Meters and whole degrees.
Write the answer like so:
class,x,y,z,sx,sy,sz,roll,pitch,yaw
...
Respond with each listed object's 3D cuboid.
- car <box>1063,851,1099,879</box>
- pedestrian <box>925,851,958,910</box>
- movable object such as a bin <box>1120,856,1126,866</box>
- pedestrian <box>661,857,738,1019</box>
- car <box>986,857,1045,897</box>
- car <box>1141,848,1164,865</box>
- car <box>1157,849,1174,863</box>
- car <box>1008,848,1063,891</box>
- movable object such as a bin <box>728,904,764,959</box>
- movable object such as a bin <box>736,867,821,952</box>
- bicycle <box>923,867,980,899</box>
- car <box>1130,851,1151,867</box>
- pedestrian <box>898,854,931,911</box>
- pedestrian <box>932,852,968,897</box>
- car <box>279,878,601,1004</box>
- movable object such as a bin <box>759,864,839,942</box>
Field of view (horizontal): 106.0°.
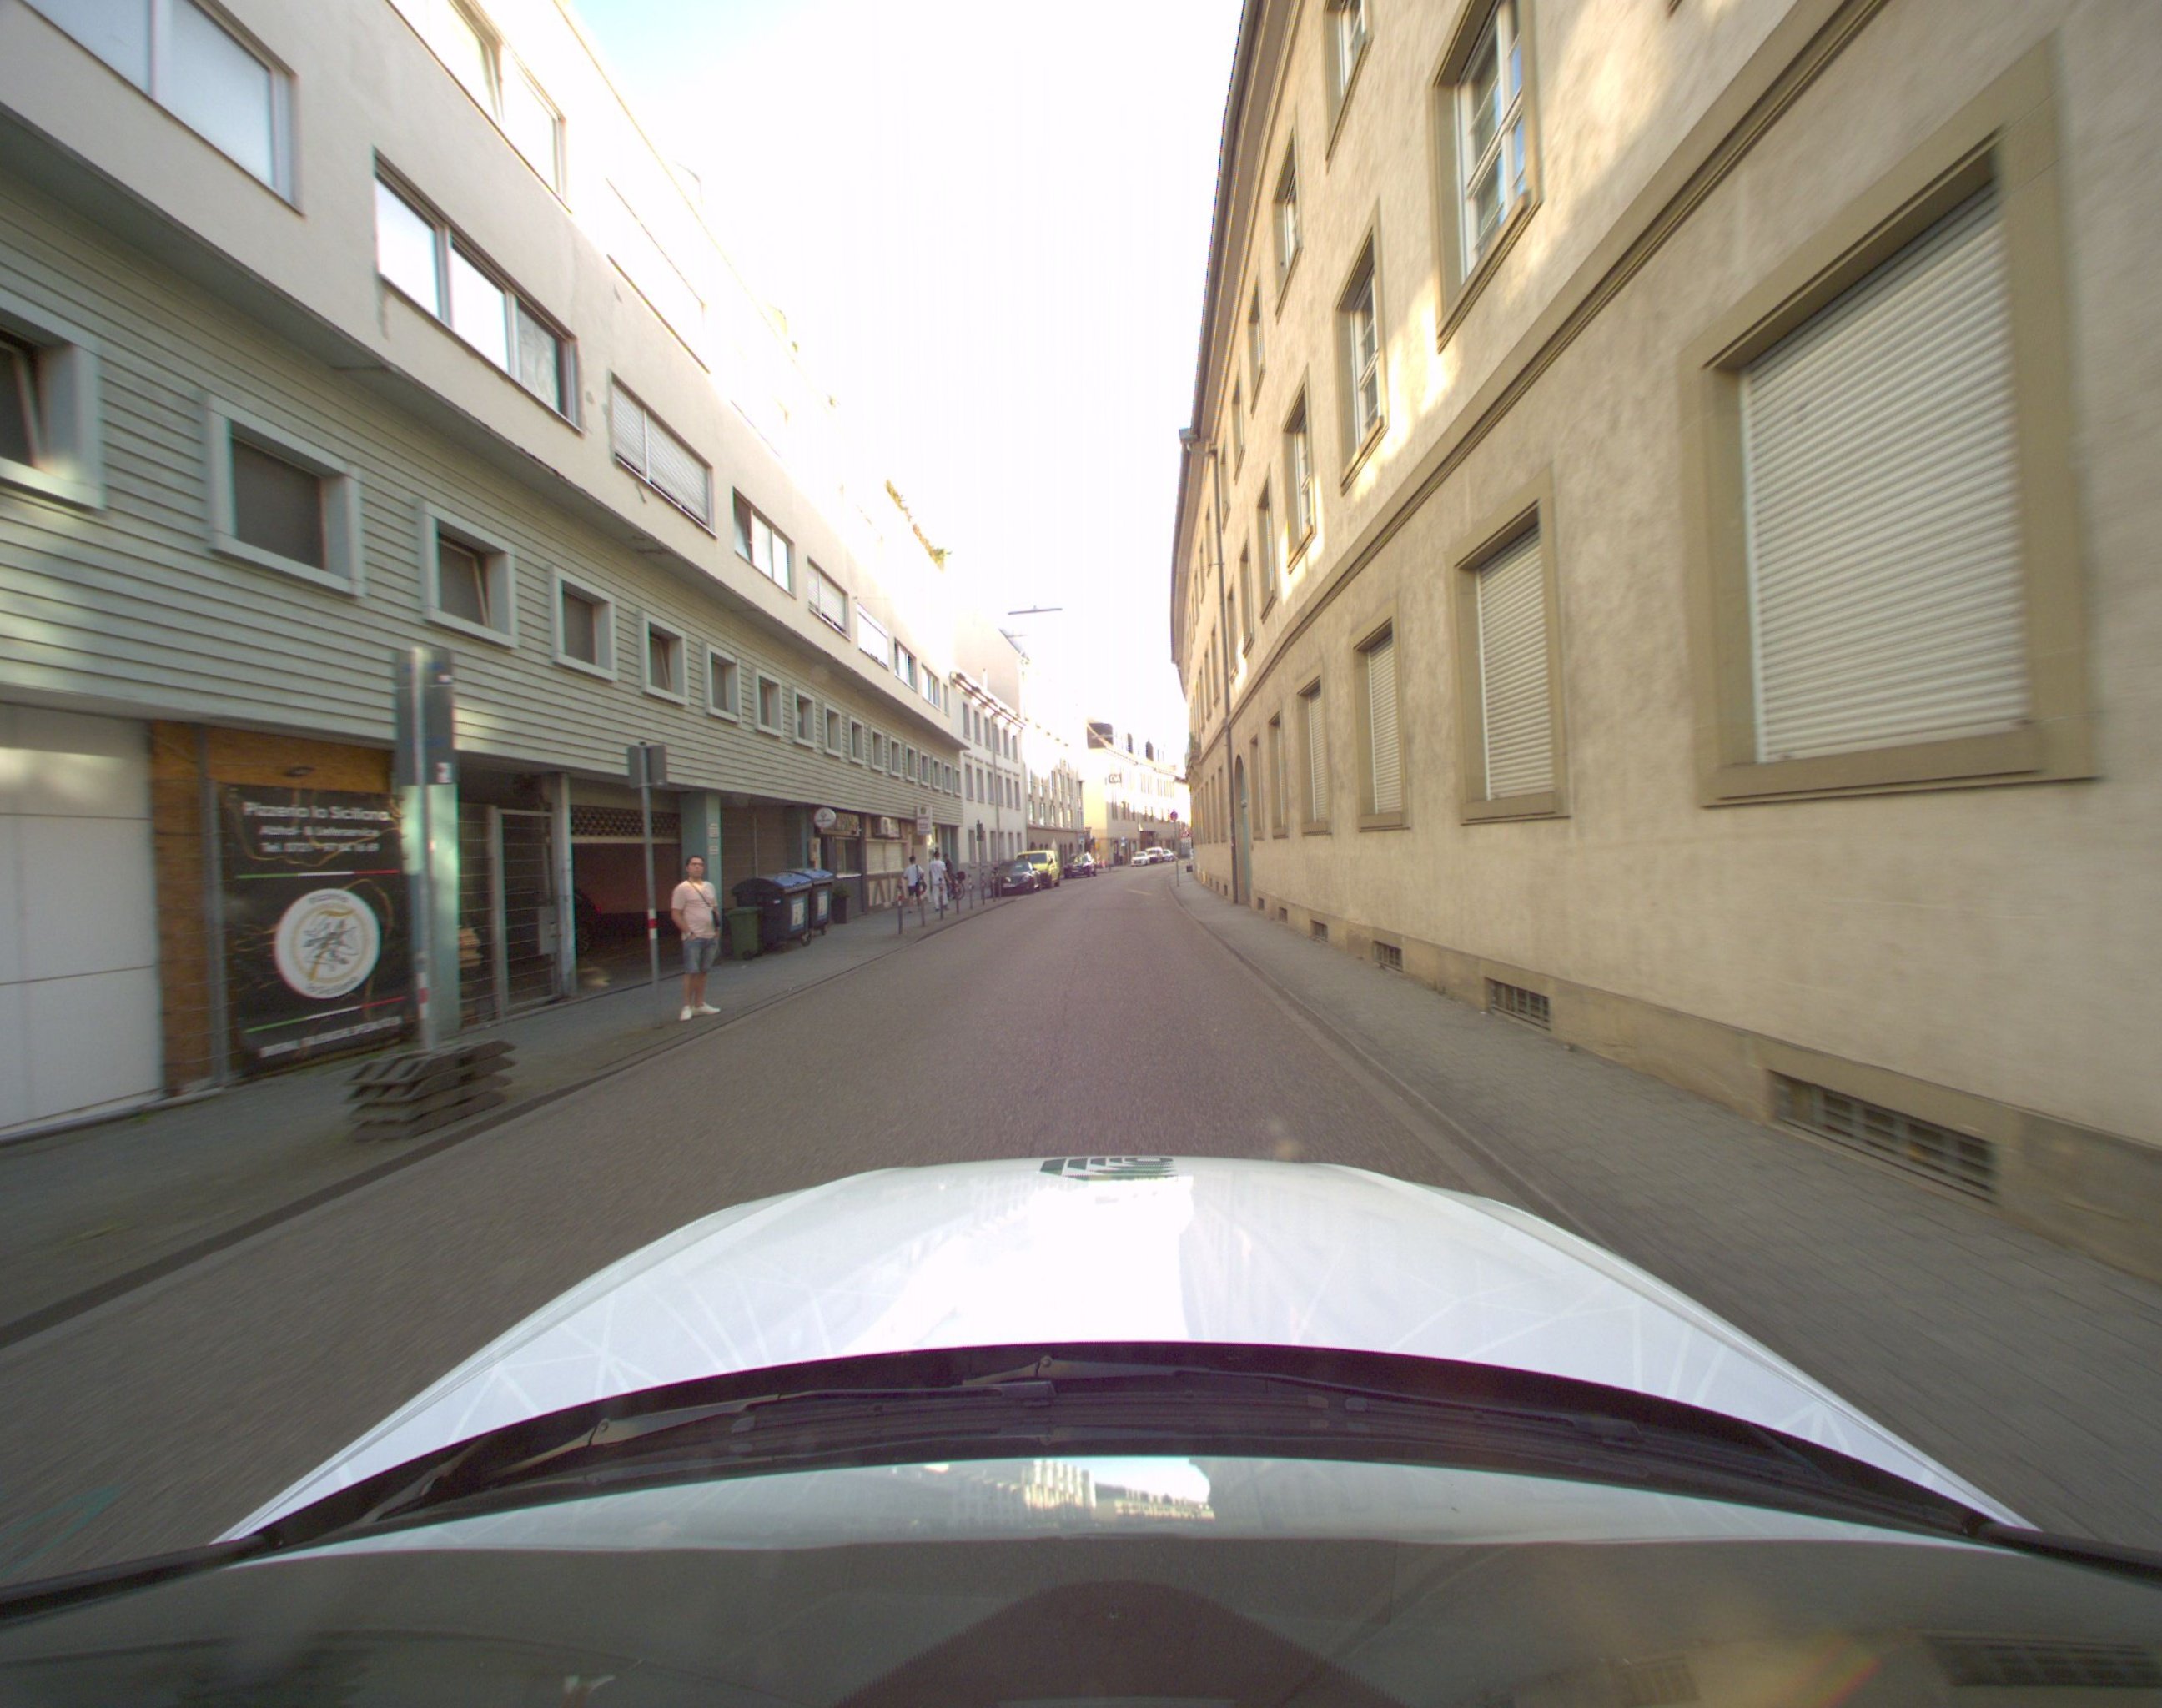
class,x,y,z,sx,sy,sz,roll,pitch,yaw
car,0.046,0.753,57.466,1.729,1.711,4.202,-5,0,10
pedestrian,-4.231,0.791,24.665,0.695,1.734,0.830,-4,0,4
movable object such as a bin,4.600,0.806,89.099,0.605,1.060,0.715,0,0,8
pedestrian,-4.129,0.870,8.817,0.631,1.669,0.487,0,0,-45
car,-2.790,0.940,35.585,1.811,1.486,4.081,-5,0,4
car,8.185,0.256,93.226,1.657,1.818,4.572,-4,0,17
car,10.342,0.236,99.131,1.261,1.507,3.417,-4,0,18
car,-2.216,0.730,40.984,1.870,1.866,4.872,-5,0,6
movable object such as a bin,-6.048,1.393,14.718,0.391,0.942,0.467,-3,0,2
movable object such as a bin,-5.801,1.033,15.716,0.965,1.471,1.475,-3,1,2
bicycle,-5.108,1.142,32.108,2.108,1.163,0.828,-3,0,27
car,6.371,0.533,87.584,1.659,1.507,3.806,-4,0,12
pedestrian,-5.015,0.848,24.571,0.669,1.669,0.896,-3,0,4
pedestrian,-5.151,0.802,32.124,1.067,1.728,0.807,-3,0,27
car,-10.782,1.353,14.267,1.755,1.535,4.606,-2,2,3
movable object such as a bin,-5.962,1.010,17.300,1.118,1.520,1.343,-3,1,2
